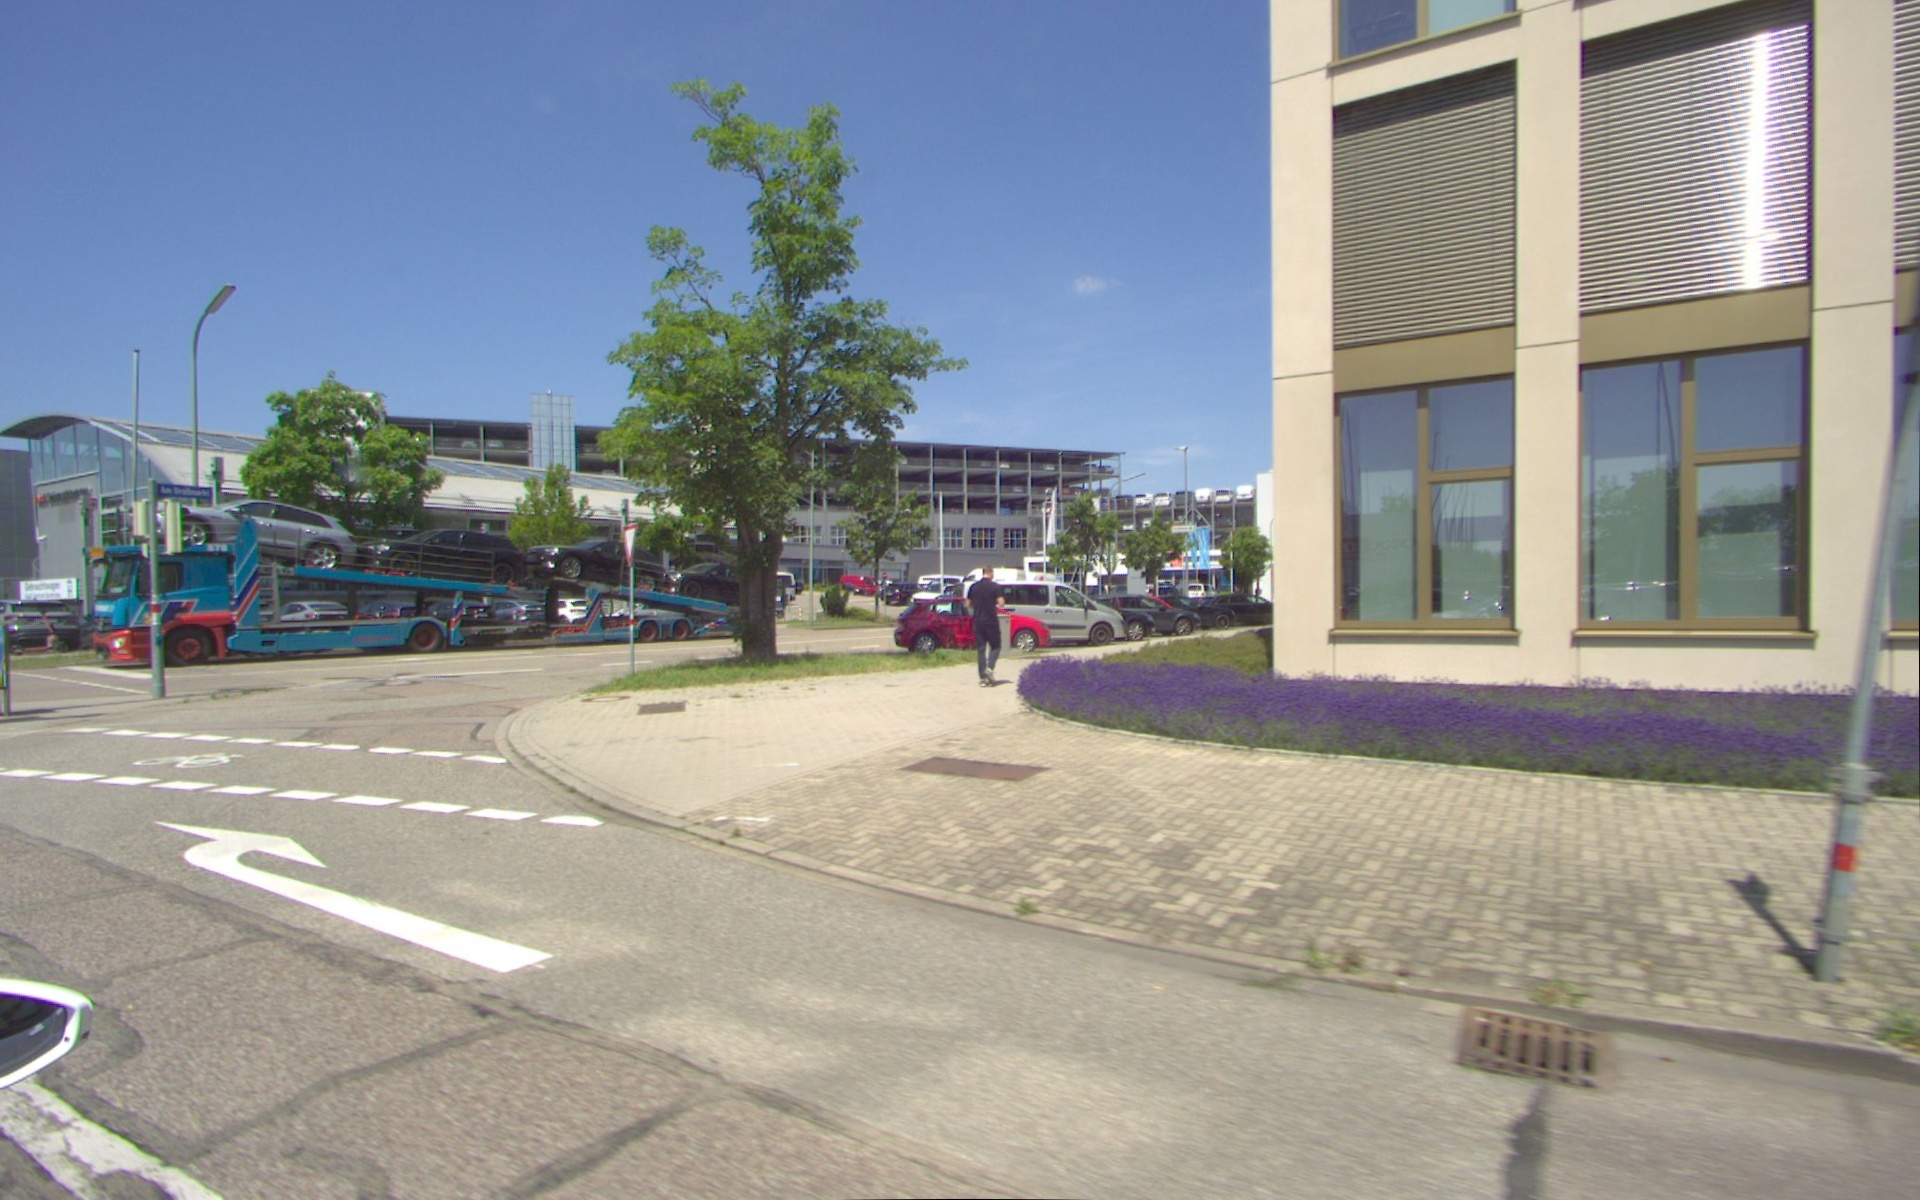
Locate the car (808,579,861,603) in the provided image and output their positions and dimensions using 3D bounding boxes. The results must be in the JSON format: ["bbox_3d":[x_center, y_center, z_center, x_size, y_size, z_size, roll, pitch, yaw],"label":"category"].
[{"bbox_3d":[-10.005,-0.715,79.745,3.942,1.810,1.730,0,1,32],"label":"car"}]

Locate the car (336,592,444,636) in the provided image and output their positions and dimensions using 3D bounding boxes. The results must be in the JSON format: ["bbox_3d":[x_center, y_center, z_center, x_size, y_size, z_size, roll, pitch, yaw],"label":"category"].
[{"bbox_3d":[-22.630,0.520,39.745,4.408,1.662,1.824,0,1,31],"label":"car"}]

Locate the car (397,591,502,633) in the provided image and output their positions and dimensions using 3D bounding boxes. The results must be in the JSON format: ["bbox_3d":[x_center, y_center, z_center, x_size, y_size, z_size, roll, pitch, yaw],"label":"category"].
[{"bbox_3d":[-21.384,0.460,41.907,4.407,1.662,1.824,0,1,31],"label":"car"}]

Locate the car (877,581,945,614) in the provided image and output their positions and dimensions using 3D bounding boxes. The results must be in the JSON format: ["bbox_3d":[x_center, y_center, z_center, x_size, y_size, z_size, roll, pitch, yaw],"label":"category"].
[{"bbox_3d":[-3.162,-0.154,64.847,3.942,2.041,1.990,0,1,31],"label":"car"}]

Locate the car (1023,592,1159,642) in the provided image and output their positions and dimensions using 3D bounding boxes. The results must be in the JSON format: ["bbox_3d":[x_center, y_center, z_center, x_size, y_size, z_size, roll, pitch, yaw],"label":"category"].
[{"bbox_3d":[4.101,0.512,31.662,3.924,1.484,1.718,-1,1,-9],"label":"car"}]

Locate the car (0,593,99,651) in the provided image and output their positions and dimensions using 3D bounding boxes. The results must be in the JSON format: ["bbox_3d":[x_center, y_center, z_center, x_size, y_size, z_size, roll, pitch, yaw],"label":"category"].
[{"bbox_3d":[-28.179,0.609,30.328,4.205,1.662,1.990,0,1,31],"label":"car"}]

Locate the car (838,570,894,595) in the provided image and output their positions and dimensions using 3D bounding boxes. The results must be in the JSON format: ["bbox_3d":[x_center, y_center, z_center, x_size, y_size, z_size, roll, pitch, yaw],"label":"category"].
[{"bbox_3d":[-7.810,-1.450,83.203,4.284,2.041,1.991,0,1,29],"label":"car"}]

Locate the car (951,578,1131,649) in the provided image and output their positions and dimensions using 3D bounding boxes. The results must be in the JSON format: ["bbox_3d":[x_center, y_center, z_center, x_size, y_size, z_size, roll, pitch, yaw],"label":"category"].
[{"bbox_3d":[2.275,0.356,28.605,4.814,1.840,1.703,-1,1,-11],"label":"car"}]

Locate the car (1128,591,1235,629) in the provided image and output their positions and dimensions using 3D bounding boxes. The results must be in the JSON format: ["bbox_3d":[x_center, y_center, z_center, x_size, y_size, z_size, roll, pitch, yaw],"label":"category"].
[{"bbox_3d":[9.013,0.380,40.855,3.923,1.484,1.718,-1,1,-7],"label":"car"}]

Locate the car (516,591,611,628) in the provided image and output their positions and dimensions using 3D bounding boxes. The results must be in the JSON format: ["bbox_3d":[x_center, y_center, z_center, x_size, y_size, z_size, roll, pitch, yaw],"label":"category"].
[{"bbox_3d":[-18.503,0.415,46.679,4.408,1.662,1.824,0,1,31],"label":"car"}]

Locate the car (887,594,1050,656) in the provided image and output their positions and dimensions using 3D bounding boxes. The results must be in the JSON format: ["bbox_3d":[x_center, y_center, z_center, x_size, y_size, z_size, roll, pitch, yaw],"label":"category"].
[{"bbox_3d":[0.178,0.606,25.509,3.924,1.454,1.609,-1,1,-9],"label":"car"}]

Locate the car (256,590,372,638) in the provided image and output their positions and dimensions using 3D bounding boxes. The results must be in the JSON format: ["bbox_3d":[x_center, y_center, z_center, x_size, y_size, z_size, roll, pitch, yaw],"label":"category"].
[{"bbox_3d":[-24.047,0.478,37.256,4.458,1.662,1.881,0,1,31],"label":"car"}]

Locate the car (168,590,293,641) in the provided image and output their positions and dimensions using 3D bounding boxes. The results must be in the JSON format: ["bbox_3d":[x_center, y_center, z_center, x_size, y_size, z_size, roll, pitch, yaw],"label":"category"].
[{"bbox_3d":[-25.423,0.494,34.864,4.376,1.662,1.989,0,1,31],"label":"car"}]

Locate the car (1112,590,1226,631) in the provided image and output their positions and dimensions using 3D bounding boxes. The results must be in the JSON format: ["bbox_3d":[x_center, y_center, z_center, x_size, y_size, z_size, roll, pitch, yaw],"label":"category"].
[{"bbox_3d":[7.933,0.382,38.202,3.923,1.484,1.718,-1,1,-7],"label":"car"}]

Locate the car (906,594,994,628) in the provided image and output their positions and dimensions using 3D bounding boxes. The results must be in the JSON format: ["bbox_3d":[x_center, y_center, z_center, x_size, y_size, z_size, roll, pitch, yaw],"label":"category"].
[{"bbox_3d":[-0.447,0.538,49.684,1.974,1.609,4.663,-1,0,37],"label":"car"}]

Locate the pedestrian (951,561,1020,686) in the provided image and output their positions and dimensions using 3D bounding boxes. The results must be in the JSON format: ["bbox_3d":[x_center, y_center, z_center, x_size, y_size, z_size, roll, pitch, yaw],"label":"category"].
[{"bbox_3d":[0.406,0.357,15.510,0.760,1.869,0.865,-1,1,23],"label":"pedestrian"}]

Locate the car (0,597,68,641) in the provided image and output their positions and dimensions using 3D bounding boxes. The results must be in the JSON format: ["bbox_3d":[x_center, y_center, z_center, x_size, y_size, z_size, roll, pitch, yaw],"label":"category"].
[{"bbox_3d":[-46.318,0.916,48.689,1.971,2.041,3.978,0,1,32],"label":"car"}]

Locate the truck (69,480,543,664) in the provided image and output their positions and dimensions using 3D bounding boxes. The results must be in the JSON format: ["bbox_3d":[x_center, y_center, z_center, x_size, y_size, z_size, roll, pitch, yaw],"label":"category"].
[{"bbox_3d":[-17.309,-0.694,27.699,3.060,4.138,10.577,1,1,37],"label":"truck"}]

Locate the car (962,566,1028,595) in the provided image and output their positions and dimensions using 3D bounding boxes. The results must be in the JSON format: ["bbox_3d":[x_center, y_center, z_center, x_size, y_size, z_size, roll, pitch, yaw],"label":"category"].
[{"bbox_3d":[2.577,-1.412,74.344,4.577,2.041,1.990,0,1,32],"label":"car"}]

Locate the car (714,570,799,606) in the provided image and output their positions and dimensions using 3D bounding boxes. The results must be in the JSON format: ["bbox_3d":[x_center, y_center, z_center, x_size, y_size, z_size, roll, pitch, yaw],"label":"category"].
[{"bbox_3d":[-11.944,-0.687,59.217,1.971,2.040,5.118,0,1,31],"label":"car"}]

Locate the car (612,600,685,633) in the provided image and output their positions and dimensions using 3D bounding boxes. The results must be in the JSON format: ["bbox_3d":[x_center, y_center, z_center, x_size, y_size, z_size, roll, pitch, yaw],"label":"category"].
[{"bbox_3d":[-17.720,0.917,57.008,3.713,1.795,1.761,-1,1,-29],"label":"car"}]

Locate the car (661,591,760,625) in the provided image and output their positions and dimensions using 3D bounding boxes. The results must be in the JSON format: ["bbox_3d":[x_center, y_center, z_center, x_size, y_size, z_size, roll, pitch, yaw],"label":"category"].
[{"bbox_3d":[-13.117,0.387,52.773,4.704,1.662,1.820,-1,1,-36],"label":"car"}]

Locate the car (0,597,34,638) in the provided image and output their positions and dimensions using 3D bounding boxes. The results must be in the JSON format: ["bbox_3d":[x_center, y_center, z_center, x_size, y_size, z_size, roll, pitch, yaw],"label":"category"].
[{"bbox_3d":[-48.544,0.890,49.271,1.971,2.041,3.978,0,1,32],"label":"car"}]

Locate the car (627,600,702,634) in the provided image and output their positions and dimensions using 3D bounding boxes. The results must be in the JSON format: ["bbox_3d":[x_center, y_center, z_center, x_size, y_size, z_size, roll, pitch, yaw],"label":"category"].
[{"bbox_3d":[-16.179,0.911,54.855,3.661,1.801,1.738,-1,1,-32],"label":"car"}]

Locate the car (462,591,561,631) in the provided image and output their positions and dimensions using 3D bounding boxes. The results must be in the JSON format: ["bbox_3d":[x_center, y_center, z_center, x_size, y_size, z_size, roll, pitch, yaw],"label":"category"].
[{"bbox_3d":[-19.817,0.454,44.170,4.408,1.662,1.824,0,1,31],"label":"car"}]

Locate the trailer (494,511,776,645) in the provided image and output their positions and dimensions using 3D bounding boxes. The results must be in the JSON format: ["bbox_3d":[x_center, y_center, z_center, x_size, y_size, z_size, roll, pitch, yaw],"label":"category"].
[{"bbox_3d":[-11.190,-0.736,35.767,3.054,4.137,9.575,1,1,37],"label":"trailer"}]

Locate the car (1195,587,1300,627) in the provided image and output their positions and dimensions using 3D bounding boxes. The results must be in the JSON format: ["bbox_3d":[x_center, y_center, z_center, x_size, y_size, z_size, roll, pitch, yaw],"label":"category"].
[{"bbox_3d":[12.596,0.332,44.070,4.074,1.559,1.815,-2,-1,2],"label":"car"}]

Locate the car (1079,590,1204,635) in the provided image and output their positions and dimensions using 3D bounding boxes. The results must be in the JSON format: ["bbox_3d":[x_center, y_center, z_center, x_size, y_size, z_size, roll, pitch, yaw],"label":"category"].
[{"bbox_3d":[6.303,0.422,34.971,3.924,1.484,1.718,-1,1,-9],"label":"car"}]

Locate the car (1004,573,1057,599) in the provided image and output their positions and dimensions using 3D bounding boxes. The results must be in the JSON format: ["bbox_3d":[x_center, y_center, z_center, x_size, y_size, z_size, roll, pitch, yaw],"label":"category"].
[{"bbox_3d":[5.913,-1.165,83.835,3.944,2.041,1.989,0,1,33],"label":"car"}]

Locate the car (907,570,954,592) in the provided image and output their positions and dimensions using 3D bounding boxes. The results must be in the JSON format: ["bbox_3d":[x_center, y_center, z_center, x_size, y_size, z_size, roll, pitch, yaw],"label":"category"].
[{"bbox_3d":[-2.898,-1.826,97.618,4.255,2.041,1.990,0,1,32],"label":"car"}]

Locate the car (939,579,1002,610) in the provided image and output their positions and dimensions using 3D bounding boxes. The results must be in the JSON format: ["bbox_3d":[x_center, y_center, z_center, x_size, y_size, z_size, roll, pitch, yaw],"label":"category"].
[{"bbox_3d":[0.738,-0.367,68.476,3.942,2.041,1.840,0,1,32],"label":"car"}]

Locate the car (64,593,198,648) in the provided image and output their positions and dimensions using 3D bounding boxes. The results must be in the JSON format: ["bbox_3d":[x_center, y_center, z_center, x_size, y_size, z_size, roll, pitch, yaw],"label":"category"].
[{"bbox_3d":[-26.888,0.601,32.442,4.490,1.662,1.989,0,1,31],"label":"car"}]
